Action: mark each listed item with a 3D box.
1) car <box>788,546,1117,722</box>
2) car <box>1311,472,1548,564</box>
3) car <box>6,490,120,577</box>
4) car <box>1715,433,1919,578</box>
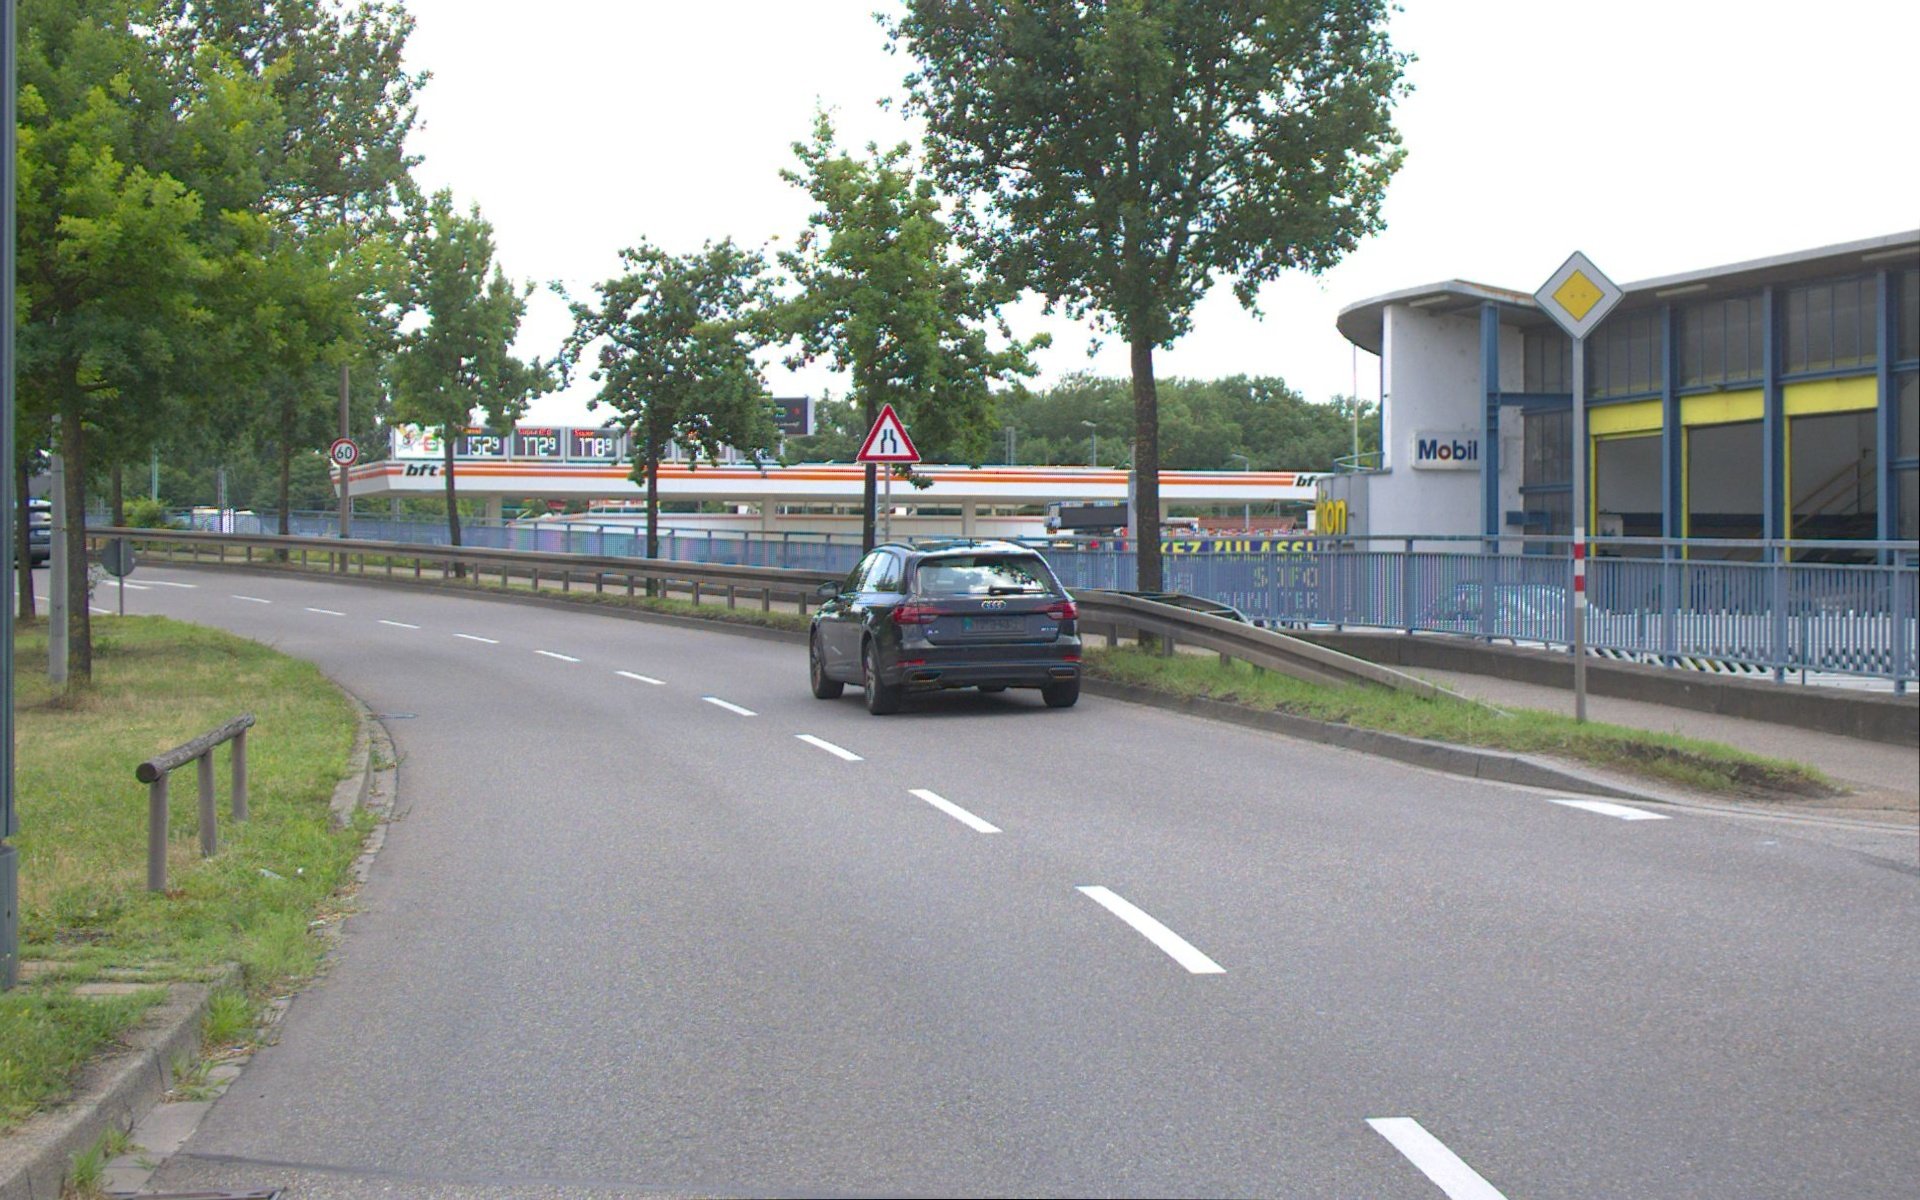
[{"bbox_3d":[-0.167,0.250,30.314,1.993,1.386,4.577,1,1,-12],"label":"car"},{"bbox_3d":[7.280,-1.289,53.786,1.993,1.354,4.751,-1,2,-15],"label":"car"},{"bbox_3d":[-22.262,-1.618,85.215,1.993,2.030,4.713,0,0,-24],"label":"car"},{"bbox_3d":[14.087,-1.324,49.876,5.801,2.007,2.233,0,0,-19],"label":"car"}]
